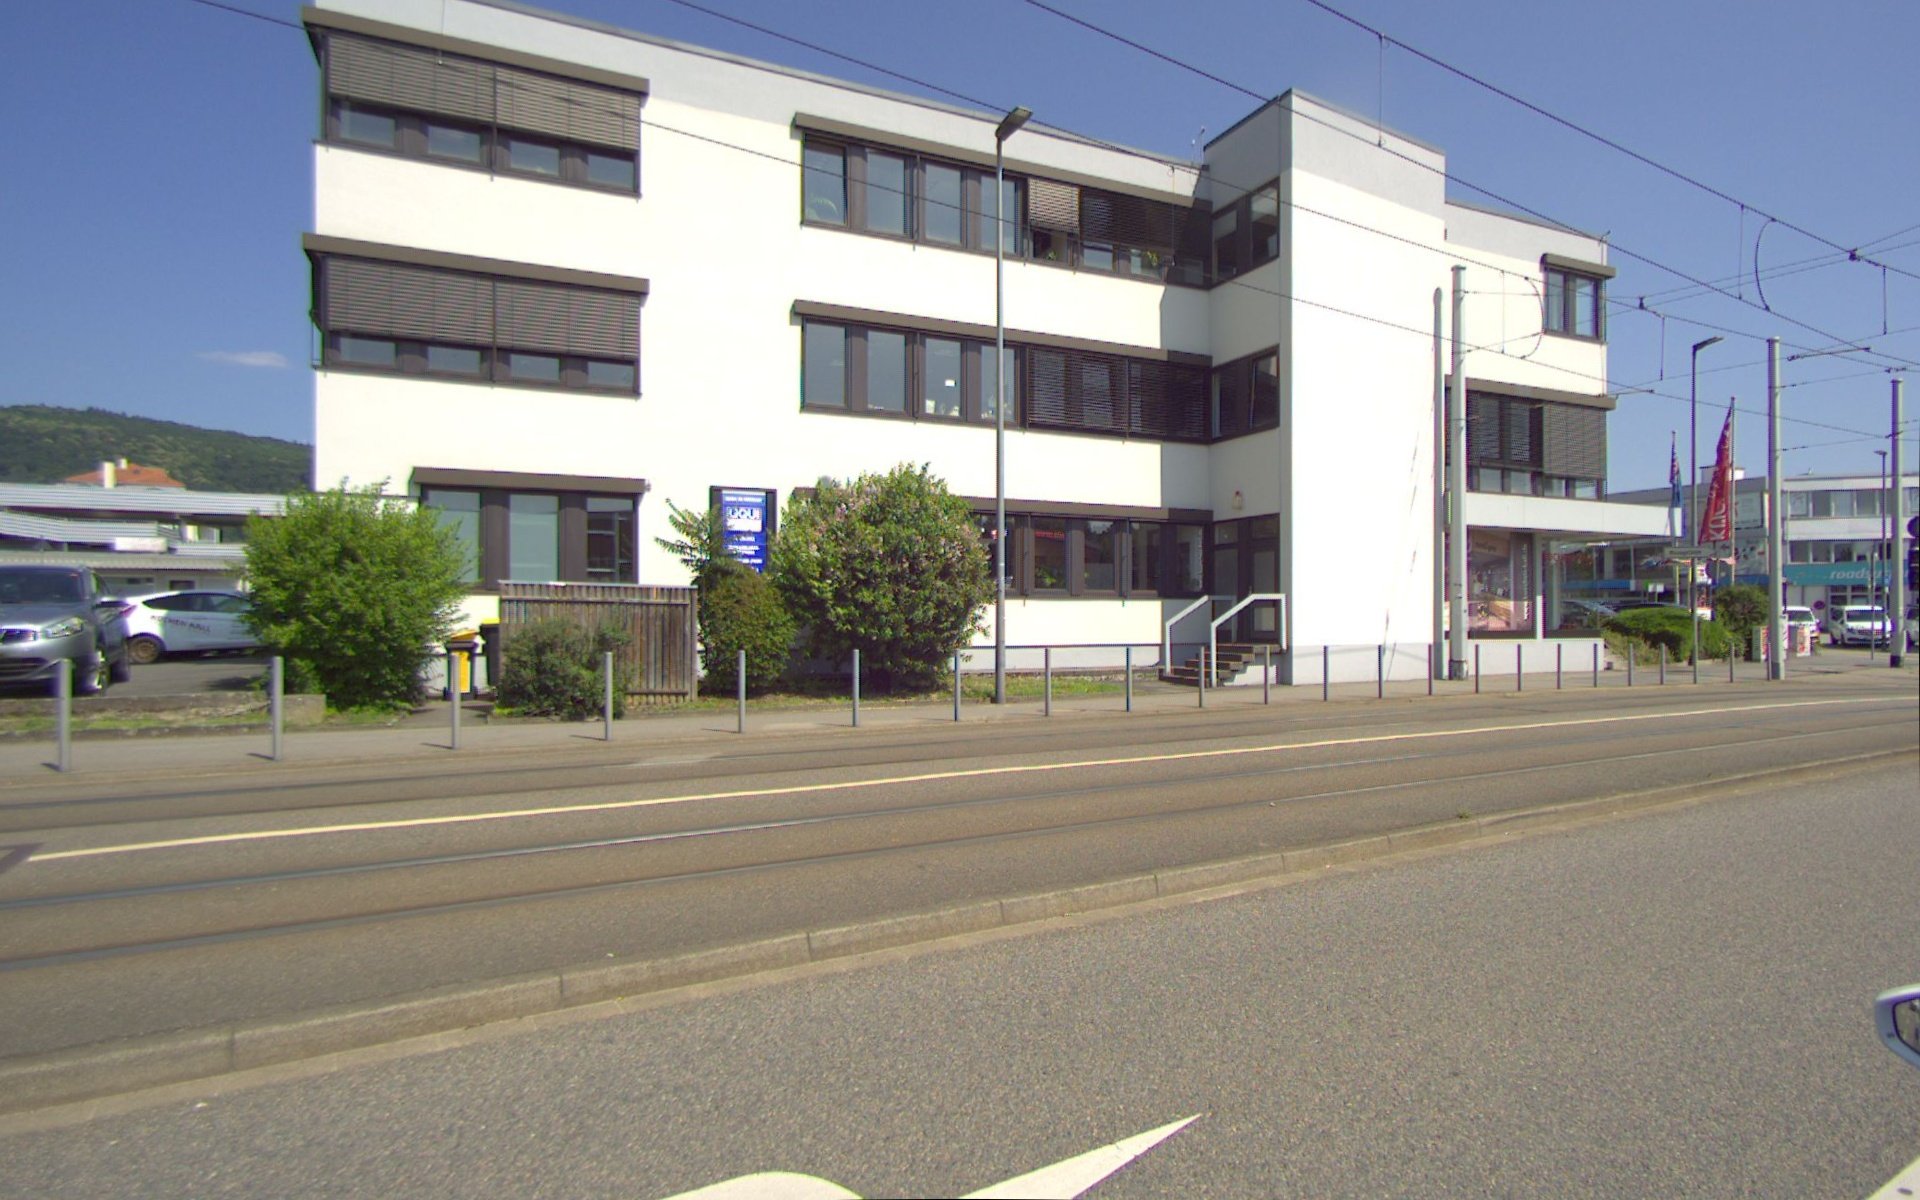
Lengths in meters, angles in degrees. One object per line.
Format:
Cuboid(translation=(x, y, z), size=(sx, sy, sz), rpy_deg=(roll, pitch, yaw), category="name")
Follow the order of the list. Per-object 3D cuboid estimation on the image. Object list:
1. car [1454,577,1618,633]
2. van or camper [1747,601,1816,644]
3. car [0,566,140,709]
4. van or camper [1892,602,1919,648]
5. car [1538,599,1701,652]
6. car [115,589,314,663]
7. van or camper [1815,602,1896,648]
Cuboid(translation=(17.622, 0.167, 30.936), size=(1.975, 1.584, 3.972), rpy_deg=(1, -1, -27), category="car")
Cuboid(translation=(42.810, 1.132, 52.469), size=(1.964, 2.041, 4.753), rpy_deg=(-1, 1, 29), category="van or camper")
Cuboid(translation=(-11.297, 0.412, 12.430), size=(1.460, 1.549, 3.600), rpy_deg=(1, -1, -35), category="car")
Cuboid(translation=(46.267, 1.171, 47.578), size=(1.964, 2.041, 5.000), rpy_deg=(-1, 1, 29), category="van or camper")
Cuboid(translation=(21.140, 0.762, 32.361), size=(1.974, 1.539, 3.972), rpy_deg=(-2, 1, -27), category="car")
Cuboid(translation=(-15.730, 0.519, 21.368), size=(3.085, 1.446, 1.415), rpy_deg=(-1, 0, -21), category="car")
Cuboid(translation=(44.292, 1.199, 49.804), size=(1.964, 2.041, 4.753), rpy_deg=(-1, 1, 29), category="van or camper")
